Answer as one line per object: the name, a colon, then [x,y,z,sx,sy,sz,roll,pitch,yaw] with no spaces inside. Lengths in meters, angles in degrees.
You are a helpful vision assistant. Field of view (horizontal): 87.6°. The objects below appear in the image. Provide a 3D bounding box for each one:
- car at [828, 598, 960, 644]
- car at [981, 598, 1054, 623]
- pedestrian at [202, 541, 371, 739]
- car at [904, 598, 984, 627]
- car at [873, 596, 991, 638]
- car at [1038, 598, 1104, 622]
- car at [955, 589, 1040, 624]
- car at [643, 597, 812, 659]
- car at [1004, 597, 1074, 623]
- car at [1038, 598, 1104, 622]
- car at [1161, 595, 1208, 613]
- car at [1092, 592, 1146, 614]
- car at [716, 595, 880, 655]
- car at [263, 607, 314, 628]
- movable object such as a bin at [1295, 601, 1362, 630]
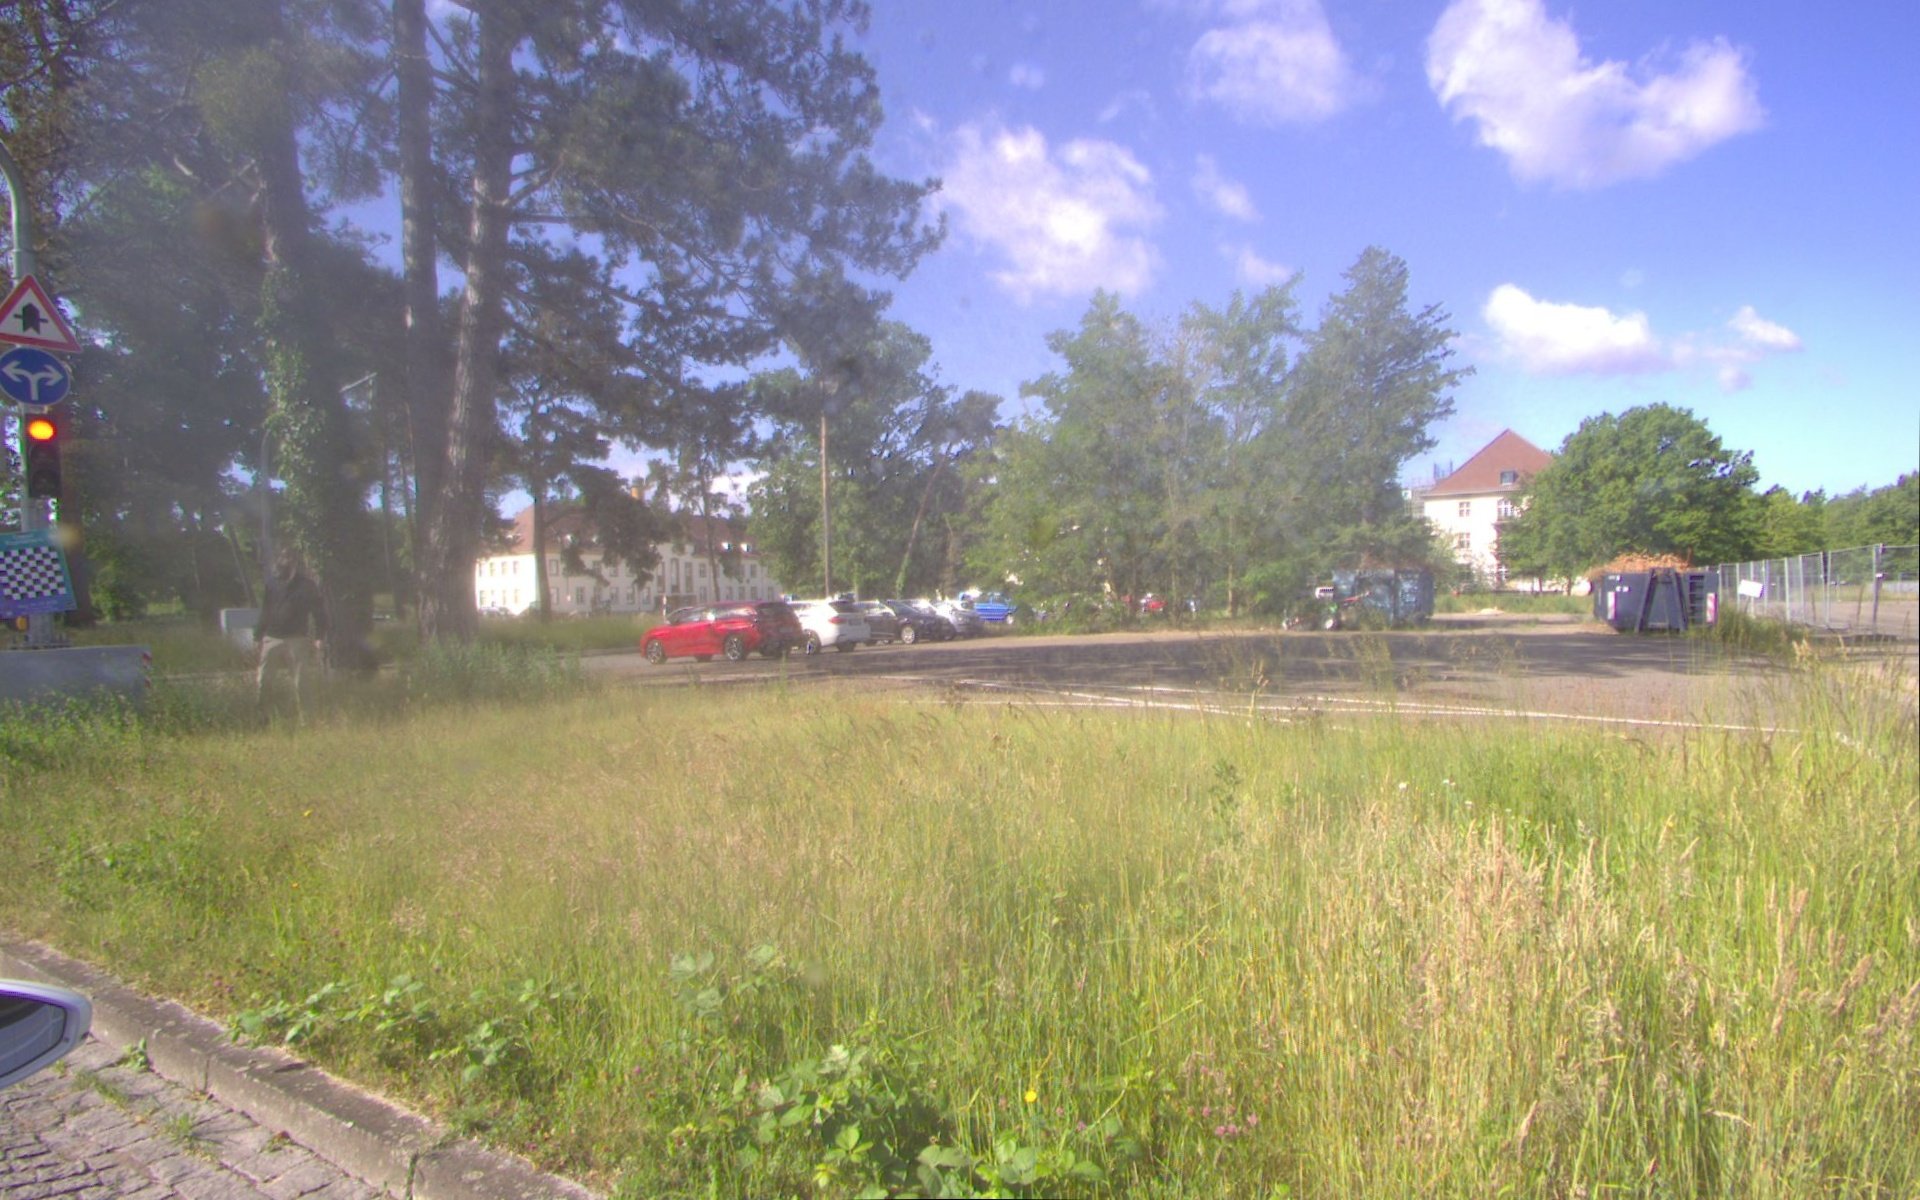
car: [-2.133,0.656,31.782,3.987,1.332,1.612,-1,1,33]
car: [3.514,0.645,61.523,4.180,1.443,1.720,-1,-1,32]
pedestrian: [-6.635,0.358,9.952,1.153,1.820,1.059,-2,1,-23]
car: [-0.896,0.706,55.045,4.180,1.487,1.720,-1,-1,32]
car: [-0.983,0.602,34.478,3.739,1.390,1.720,-1,-1,34]
car: [7.669,0.703,69.364,4.180,1.568,1.720,-1,-1,32]
car: [2.192,0.396,59.199,4.676,1.973,1.982,-1,-1,32]
car: [-5.754,0.706,24.654,4.071,1.417,1.652,-2,-1,32]
car: [5.056,0.647,64.125,4.180,1.568,1.720,-1,-1,32]
car: [7.683,0.703,69.355,4.180,1.568,1.720,-1,-1,32]
car: [19.637,0.371,87.550,3.681,1.568,1.705,-1,-1,32]
car: [11.999,0.264,75.735,3.681,1.568,1.705,-1,-1,32]
car: [-4.422,0.683,27.216,4.179,1.396,1.776,-3,-1,30]
car: [-53.021,1.363,79.076,4.102,1.603,1.823,-1,1,32]
movable object such as a bin: [10.510,0.444,28.540,1.696,0.762,1.143,-1,0,25]
